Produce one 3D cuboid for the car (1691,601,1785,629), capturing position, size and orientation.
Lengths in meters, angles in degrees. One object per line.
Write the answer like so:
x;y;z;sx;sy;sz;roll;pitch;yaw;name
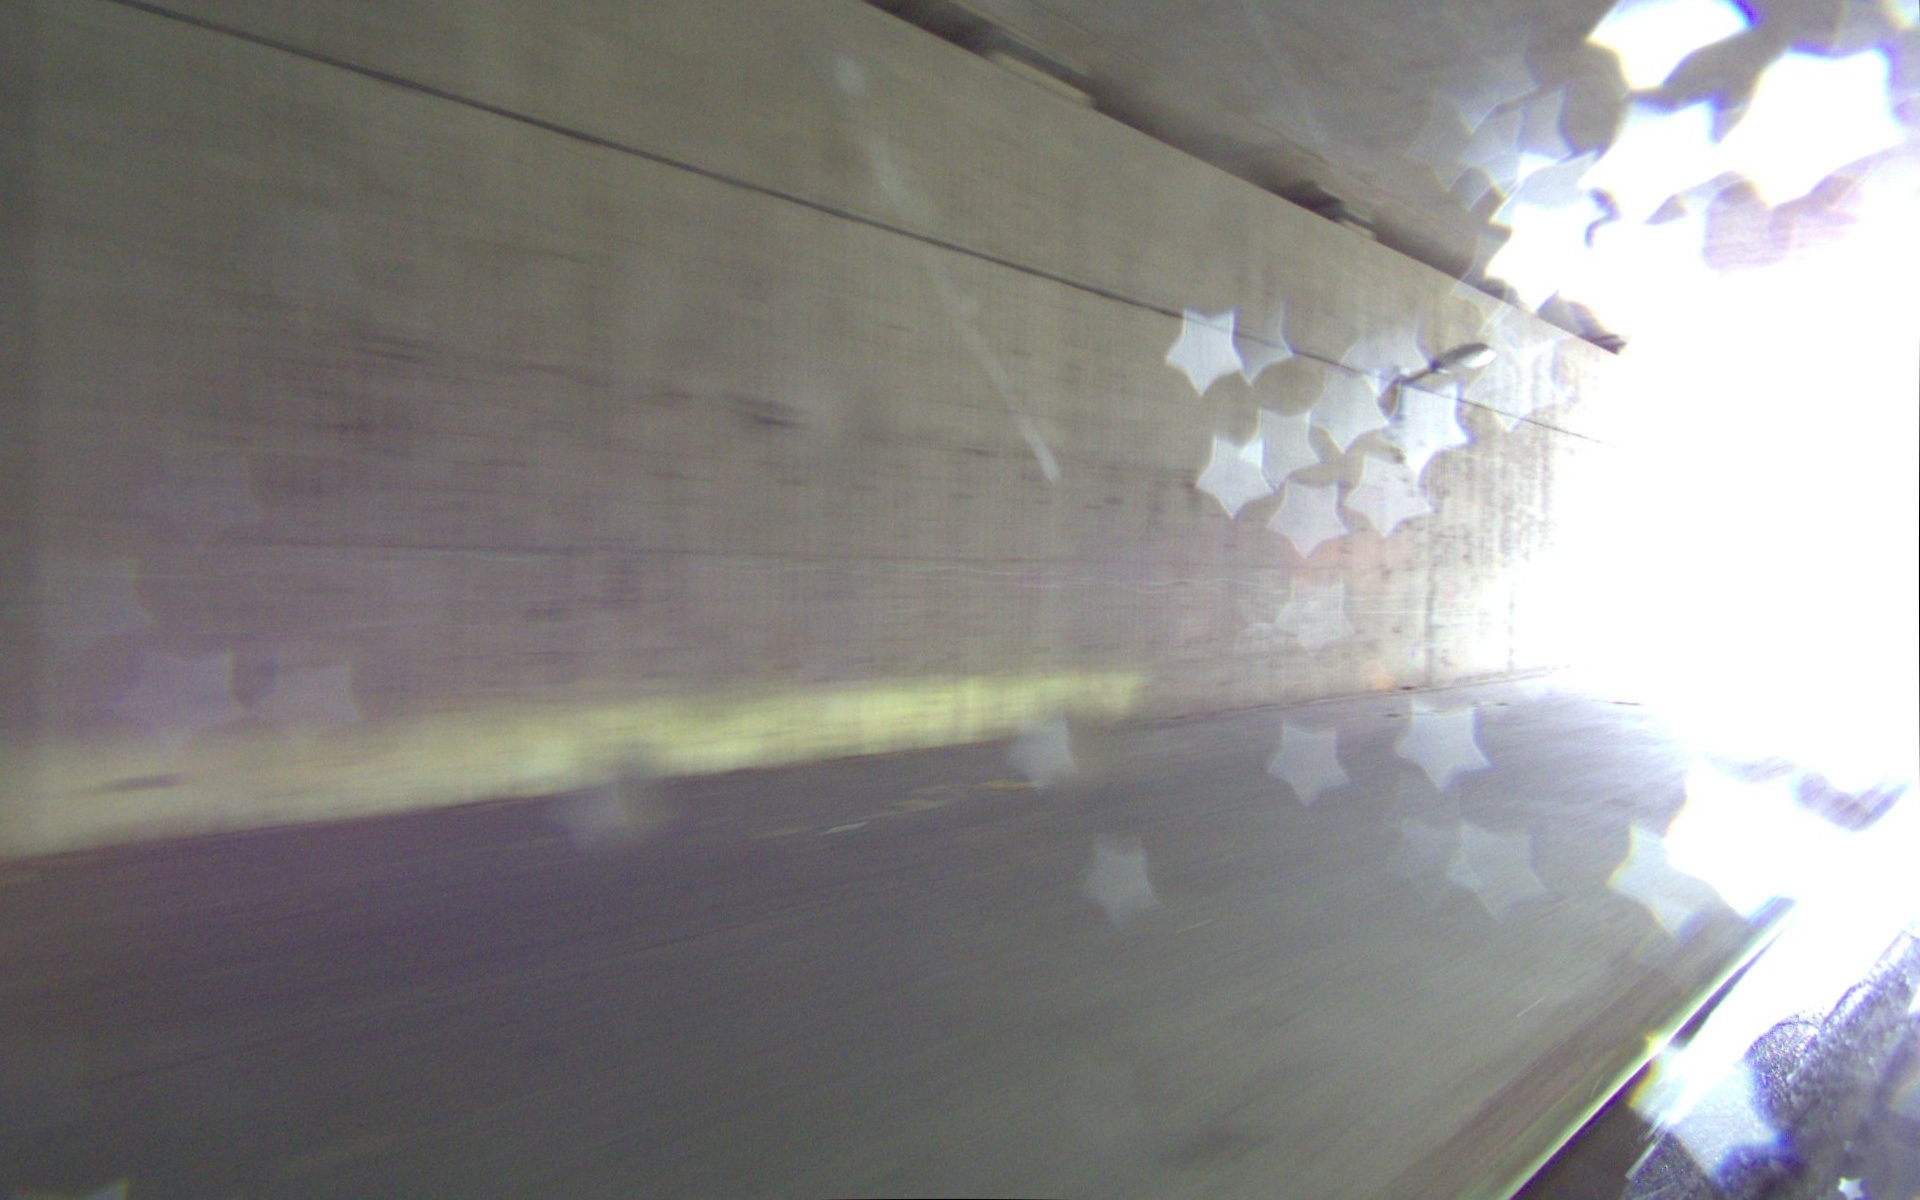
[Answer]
44.084;0.816;57.430;3.800;1.551;1.711;0;0;15;car
